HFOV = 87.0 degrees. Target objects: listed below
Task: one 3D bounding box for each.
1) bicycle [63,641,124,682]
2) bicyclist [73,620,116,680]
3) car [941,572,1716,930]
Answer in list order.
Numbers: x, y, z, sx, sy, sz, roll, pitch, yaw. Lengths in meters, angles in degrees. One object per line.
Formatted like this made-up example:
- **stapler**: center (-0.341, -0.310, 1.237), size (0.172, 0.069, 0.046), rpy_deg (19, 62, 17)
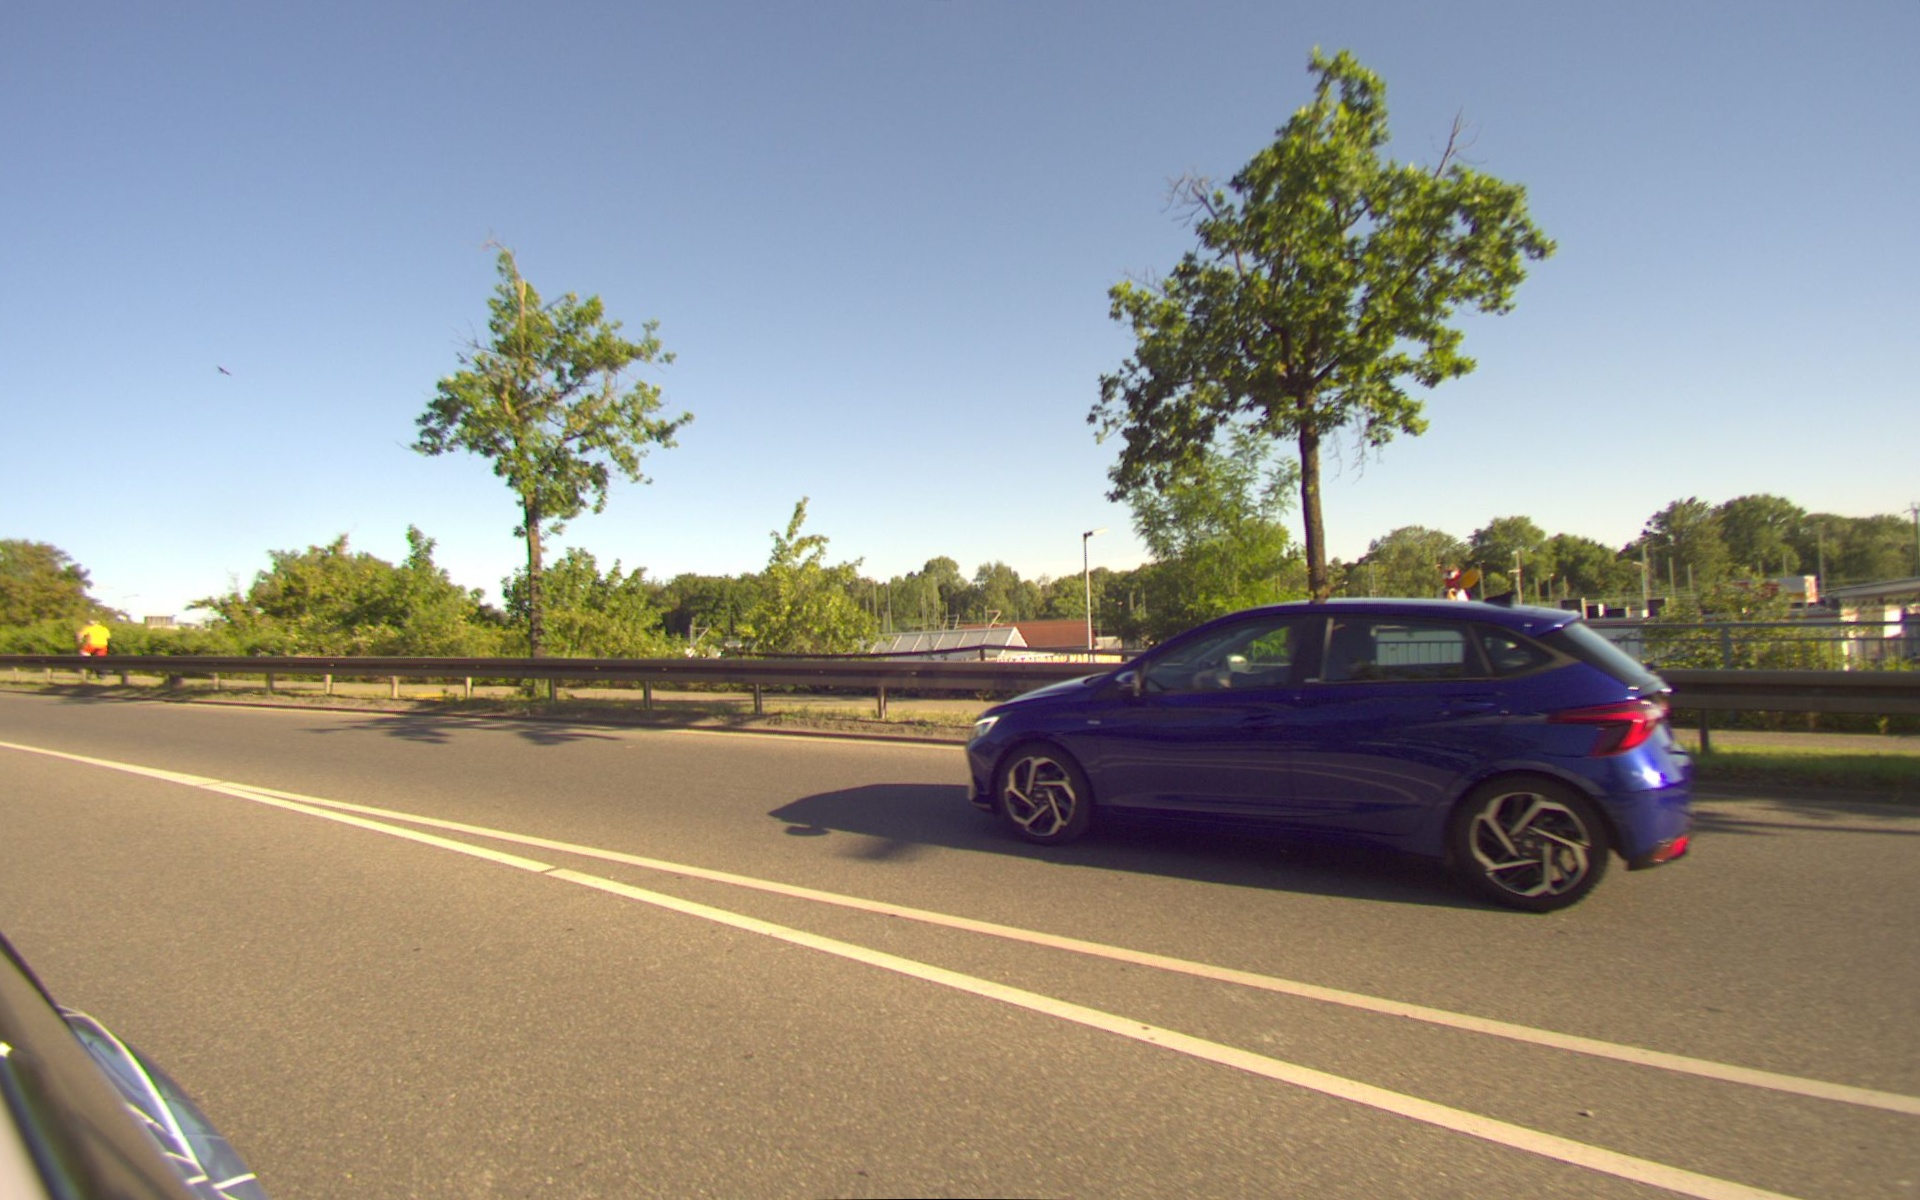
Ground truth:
- **bicycle**: center (-24.135, 1.701, 28.173), size (2.100, 1.104, 0.655), rpy_deg (-2, -2, 31)
- **bicyclist**: center (-24.041, 1.382, 28.119), size (0.871, 1.636, 0.647), rpy_deg (-2, -2, 30)
- **car**: center (1.933, 0.664, 5.902), size (3.839, 1.456, 1.650), rpy_deg (-2, -1, 34)
